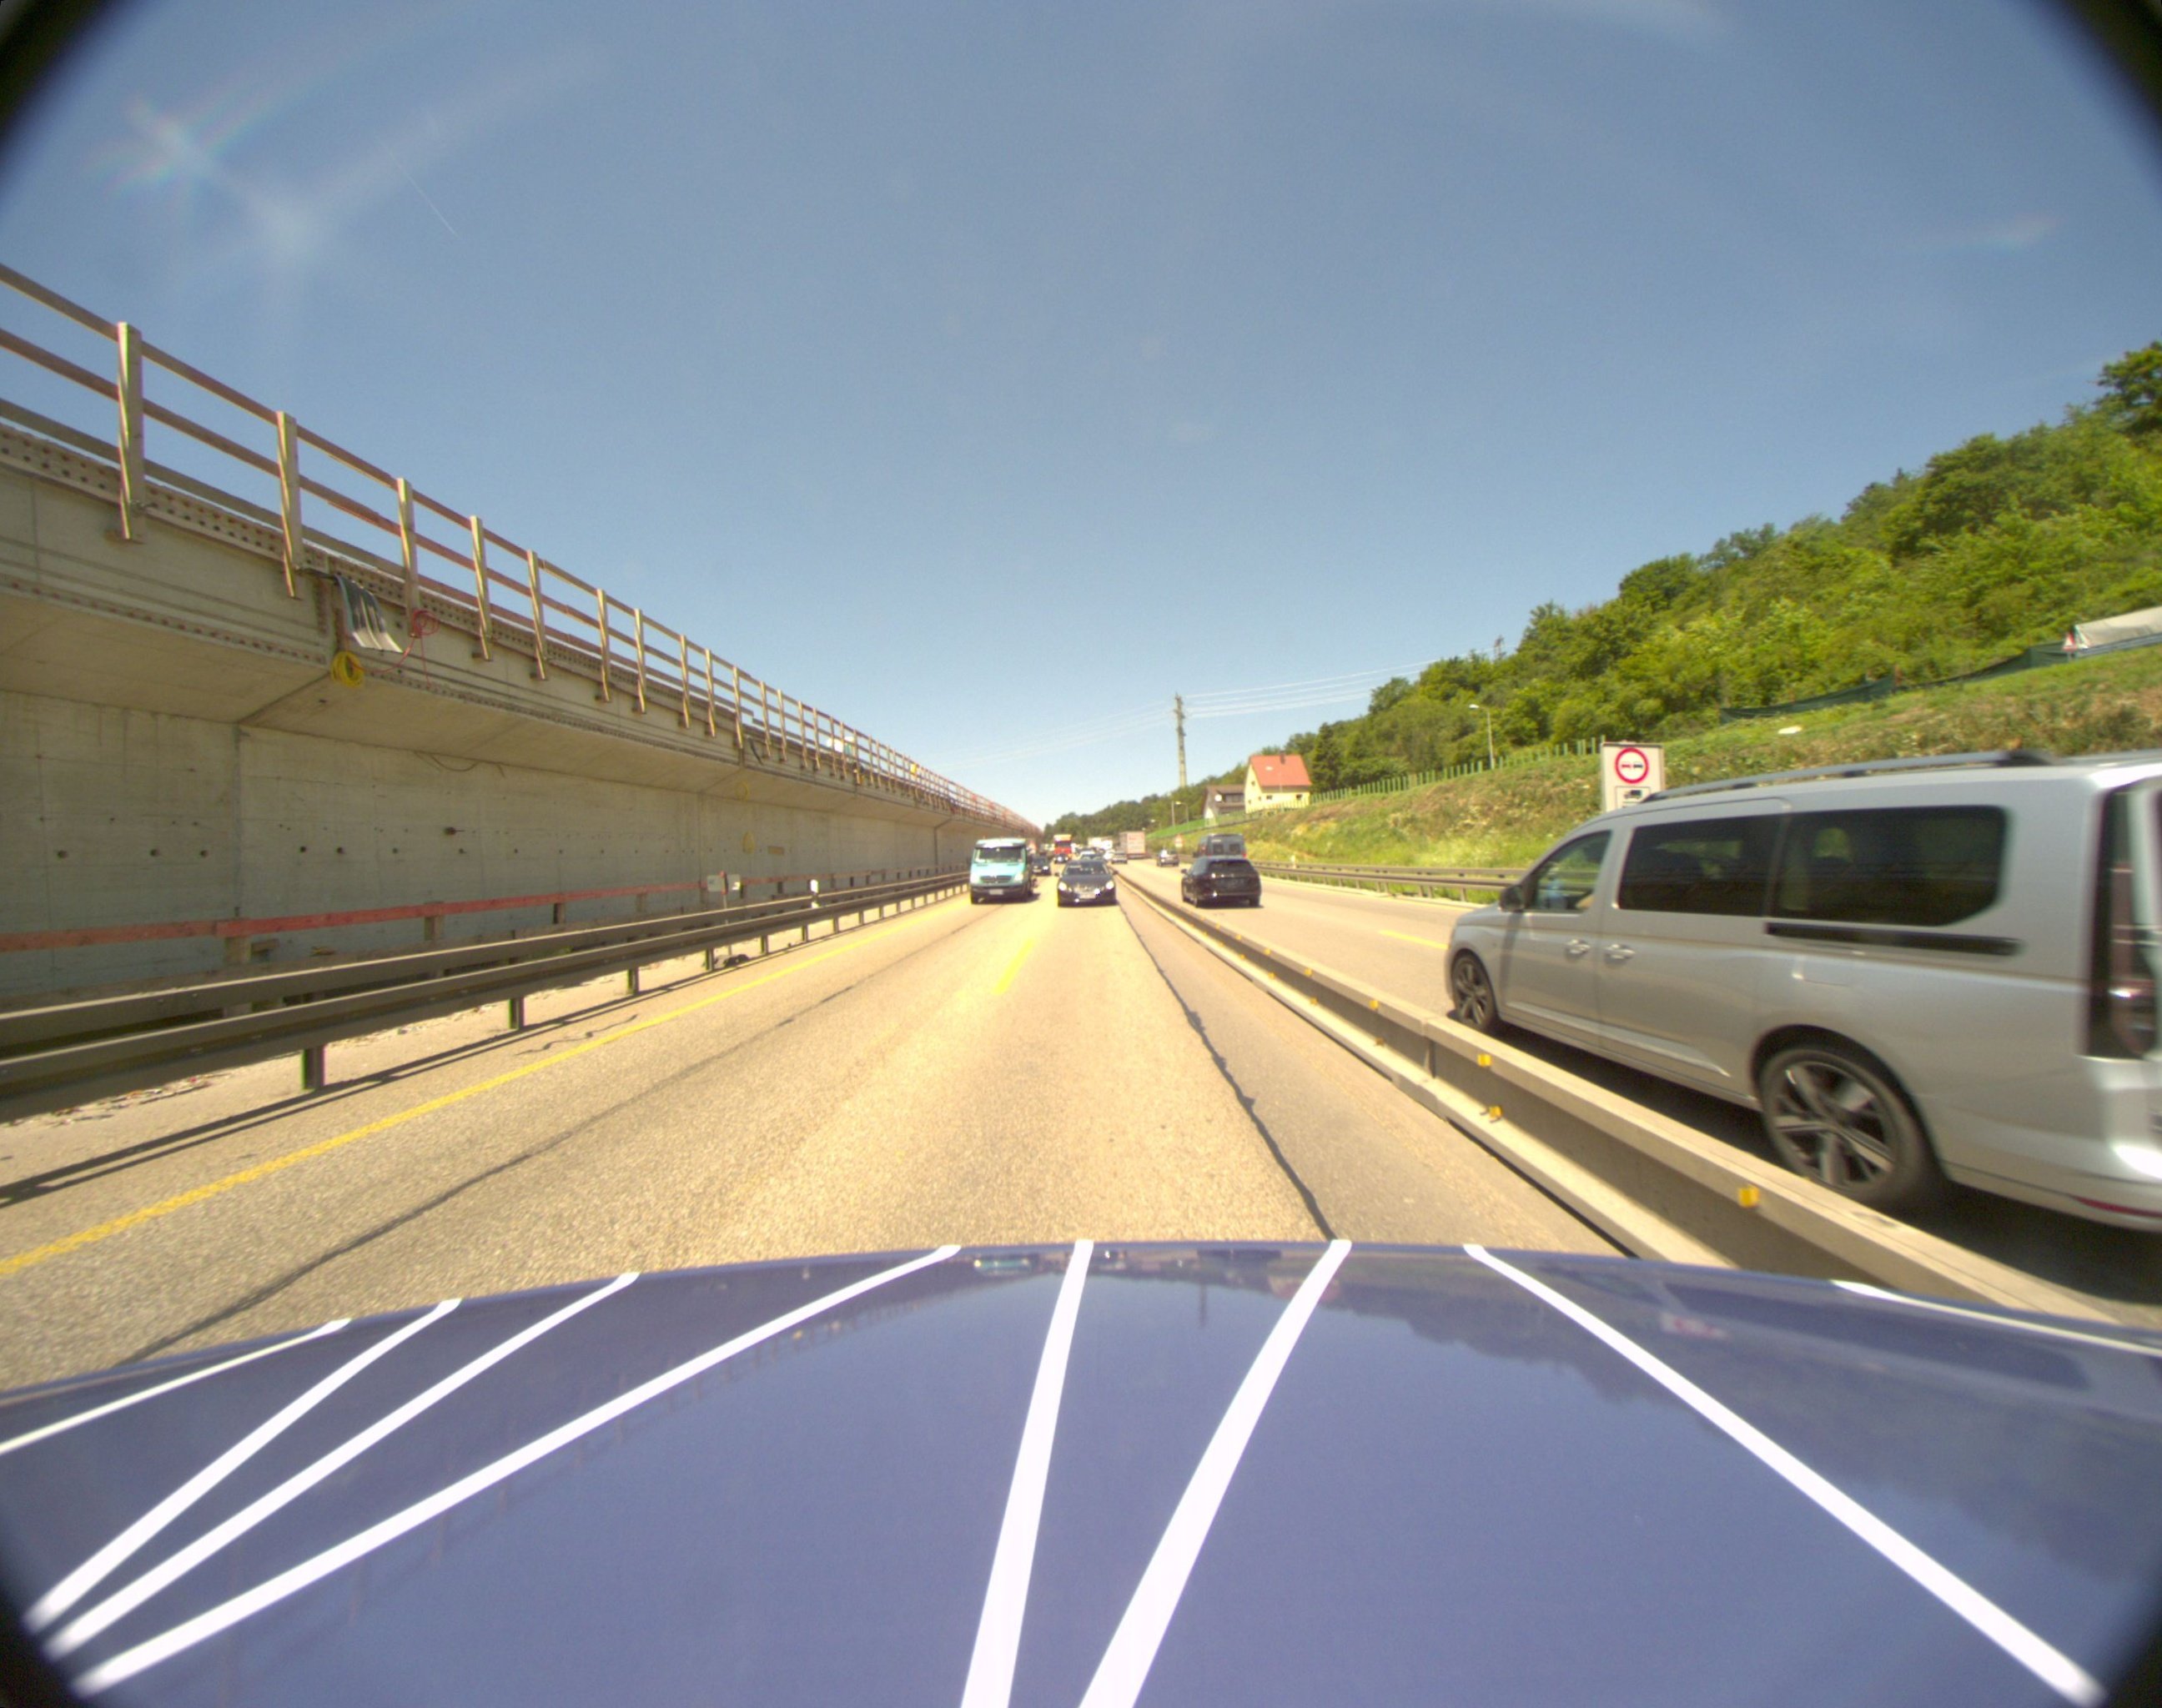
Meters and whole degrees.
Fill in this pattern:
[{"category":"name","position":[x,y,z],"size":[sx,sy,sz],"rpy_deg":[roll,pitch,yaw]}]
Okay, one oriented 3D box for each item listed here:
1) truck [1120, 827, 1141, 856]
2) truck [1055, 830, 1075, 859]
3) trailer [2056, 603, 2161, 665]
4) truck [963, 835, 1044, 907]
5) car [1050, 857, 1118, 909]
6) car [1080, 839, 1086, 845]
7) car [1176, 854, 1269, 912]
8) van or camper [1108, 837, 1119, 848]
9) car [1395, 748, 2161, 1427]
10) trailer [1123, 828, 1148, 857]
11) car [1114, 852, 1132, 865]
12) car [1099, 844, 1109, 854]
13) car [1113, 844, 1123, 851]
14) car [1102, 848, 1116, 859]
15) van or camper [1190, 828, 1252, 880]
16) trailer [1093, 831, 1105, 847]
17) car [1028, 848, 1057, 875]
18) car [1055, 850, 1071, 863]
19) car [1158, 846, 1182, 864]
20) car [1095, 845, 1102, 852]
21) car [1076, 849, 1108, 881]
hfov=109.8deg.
[{"category":"truck","position":[7.919,-2.003,122.330],"size":[2.627,4.371,10.383],"rpy_deg":[-2,1,0]},{"category":"truck","position":[-2.479,-1.484,118.639],"size":[2.750,4.222,9.093],"rpy_deg":[-2,1,0]},{"category":"trailer","position":[37.071,-7.733,26.625],"size":[1.908,1.507,3.034],"rpy_deg":[-2,1,-10]},{"category":"truck","position":[-2.760,0.493,29.169],"size":[2.139,2.344,7.431],"rpy_deg":[-2,1,1]},{"category":"car","position":[0.122,0.881,25.050],"size":[1.998,1.441,4.601],"rpy_deg":[-2,1,1]},{"category":"car","position":[0.641,-3.862,245.499],"size":[1.999,2.002,4.165],"rpy_deg":[-2,1,-1]},{"category":"car","position":[4.064,0.759,22.584],"size":[1.847,1.467,4.834],"rpy_deg":[-2,0,0]},{"category":"van or camper","position":[8.331,-2.899,194.464],"size":[2.356,2.619,6.901],"rpy_deg":[-2,1,1]},{"category":"car","position":[3.781,0.593,4.323],"size":[1.842,1.817,5.040],"rpy_deg":[-2,0,0]},{"category":"trailer","position":[8.025,-1.709,112.785],"size":[2.937,3.966,8.704],"rpy_deg":[-2,1,-1]},{"category":"car","position":[4.818,0.470,88.217],"size":[1.834,1.425,4.629],"rpy_deg":[-1,0,0]},{"category":"car","position":[4.823,-1.031,157.918],"size":[1.854,1.879,4.501],"rpy_deg":[-2,0,1]},{"category":"car","position":[8.096,-1.491,168.687],"size":[1.998,1.499,5.299],"rpy_deg":[-2,1,1]},{"category":"car","position":[4.022,-0.104,109.489],"size":[1.807,1.455,3.999],"rpy_deg":[-2,1,0]},{"category":"van or camper","position":[7.576,-0.008,41.791],"size":[2.145,2.558,6.564],"rpy_deg":[-2,0,0]},{"category":"trailer","position":[5.403,-4.598,233.226],"size":[3.111,4.416,14.625],"rpy_deg":[-2,1,0]},{"category":"car","position":[-2.828,0.514,56.437],"size":[1.885,1.805,4.249],"rpy_deg":[-2,1,0]},{"category":"car","position":[-2.286,0.359,98.524],"size":[1.883,1.532,4.280],"rpy_deg":[-2,1,0]},{"category":"car","position":[8.397,0.103,72.136],"size":[1.777,1.573,4.285],"rpy_deg":[-3,0,0]},{"category":"car","position":[4.409,-1.349,191.792],"size":[1.875,1.674,4.000],"rpy_deg":[-1,1,1]},{"category":"car","position":[0.759,0.653,48.485],"size":[1.884,1.805,4.250],"rpy_deg":[-2,1,2]}]
